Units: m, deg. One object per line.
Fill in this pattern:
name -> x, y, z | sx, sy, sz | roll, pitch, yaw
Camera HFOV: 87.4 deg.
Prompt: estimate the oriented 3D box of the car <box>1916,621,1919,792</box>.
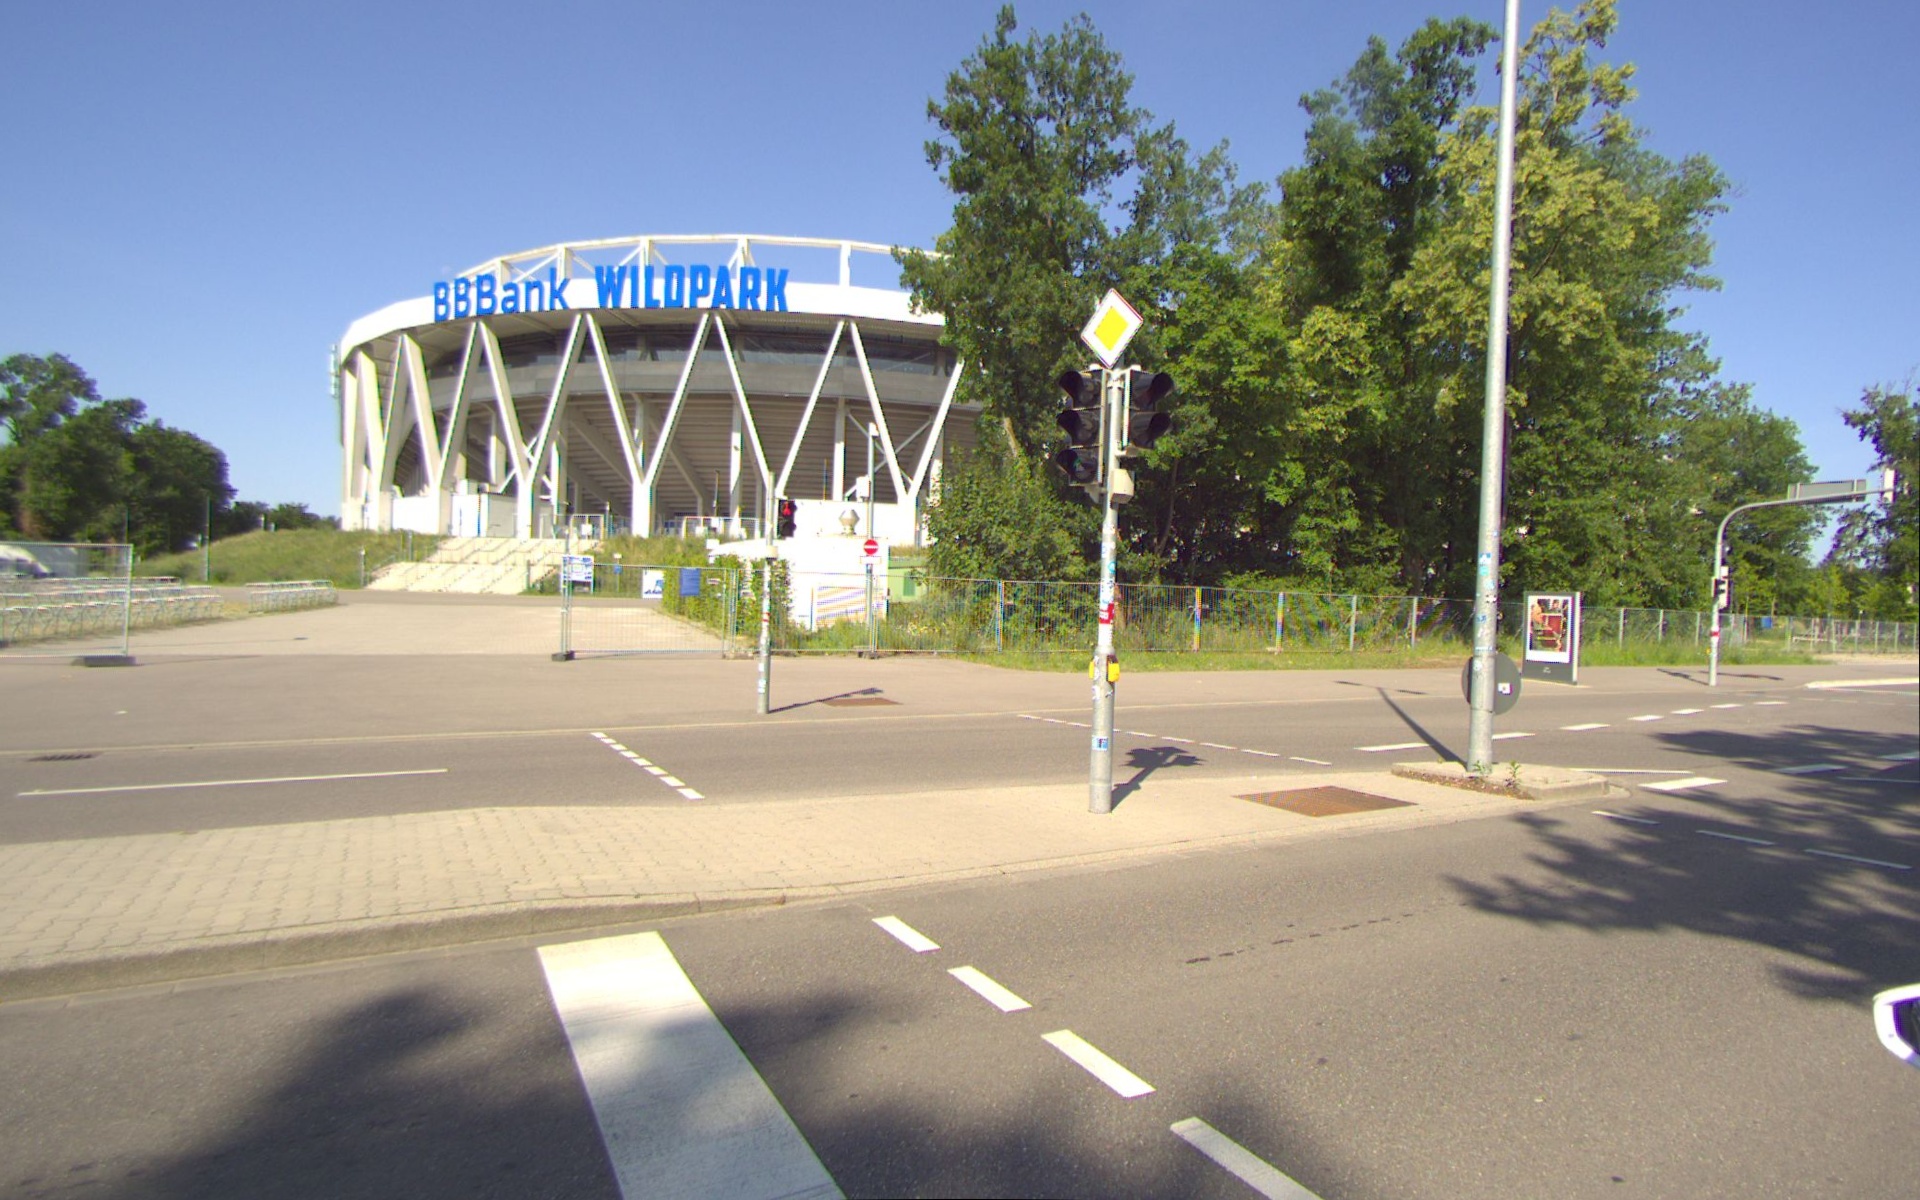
car -> 10.995, 1.033, 9.610 | 4.101, 1.565, 1.679 | 2, -1, -32
